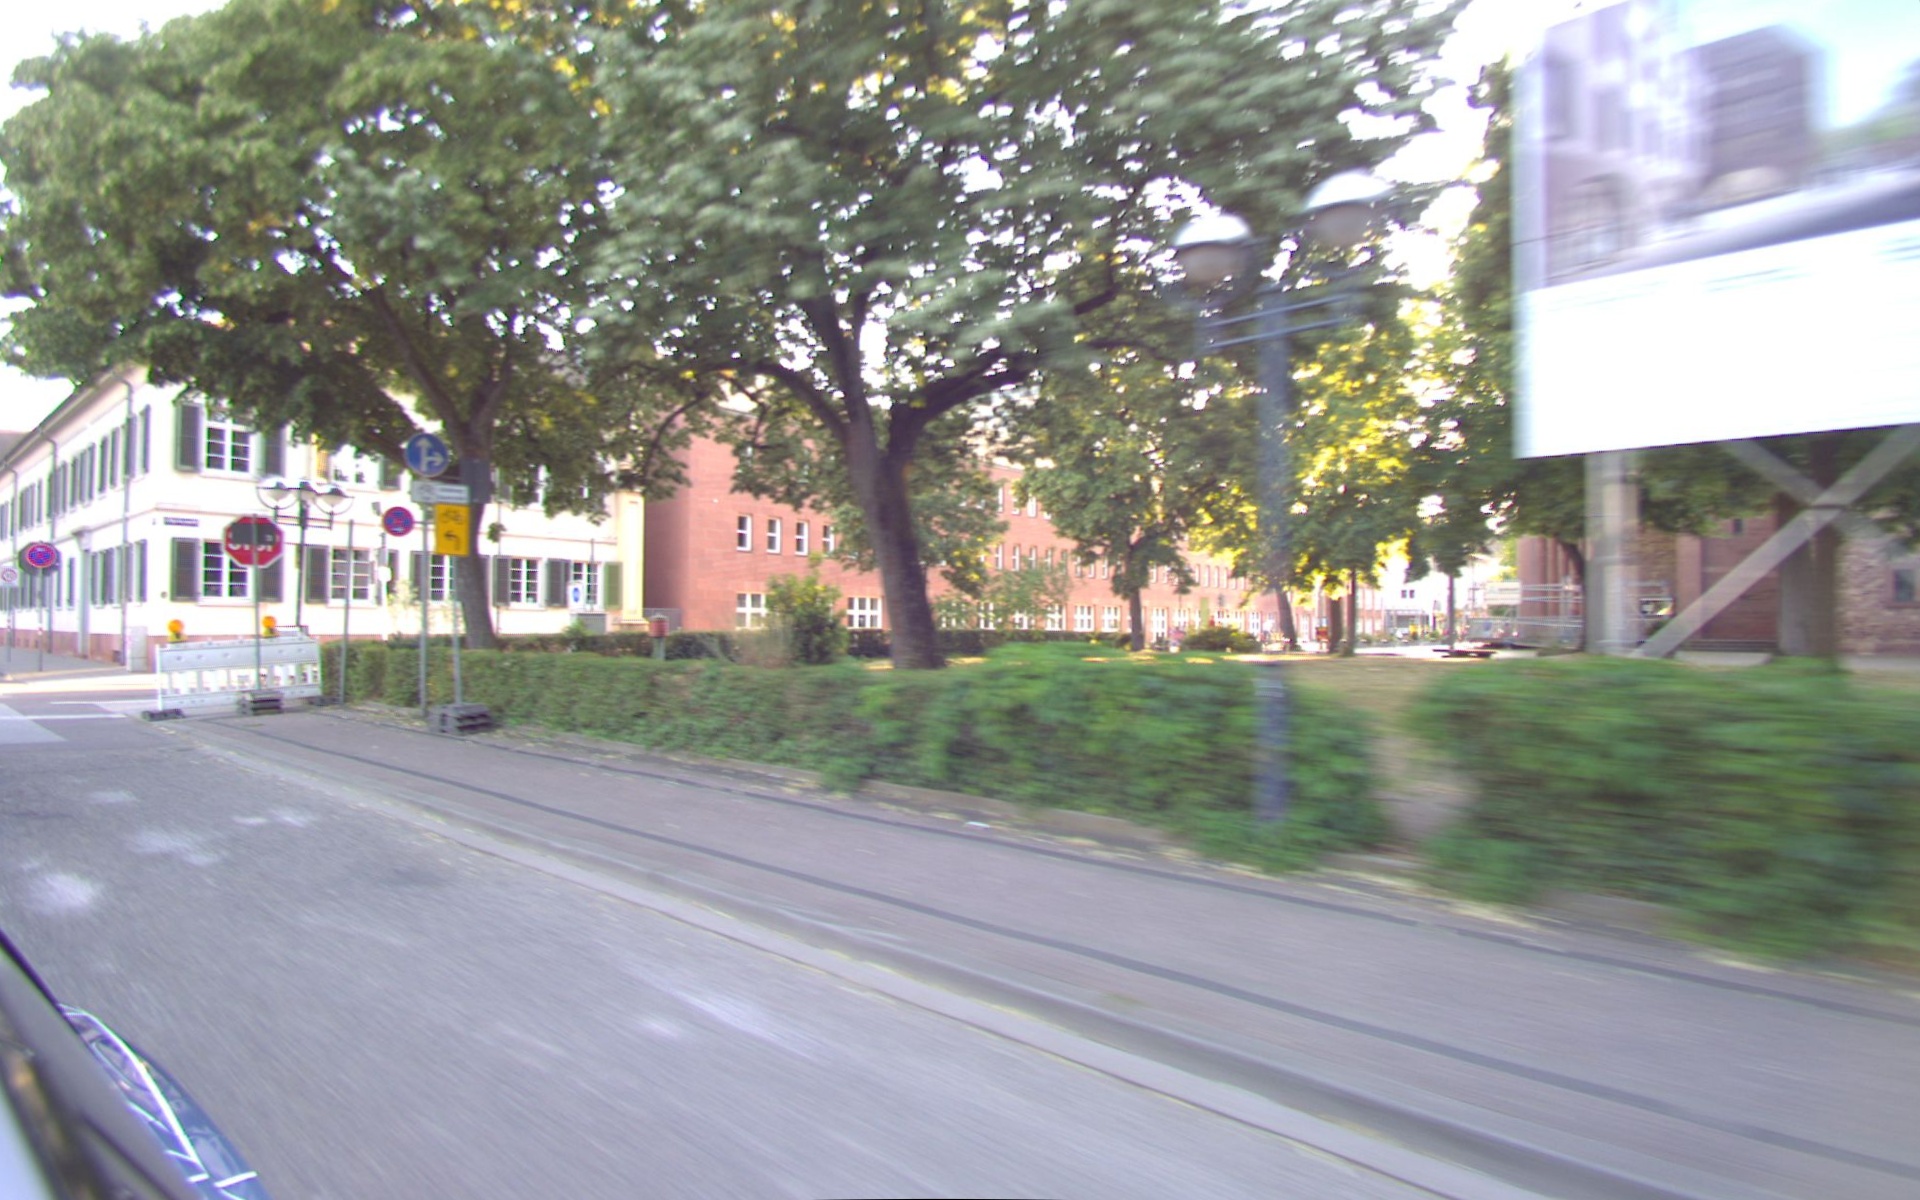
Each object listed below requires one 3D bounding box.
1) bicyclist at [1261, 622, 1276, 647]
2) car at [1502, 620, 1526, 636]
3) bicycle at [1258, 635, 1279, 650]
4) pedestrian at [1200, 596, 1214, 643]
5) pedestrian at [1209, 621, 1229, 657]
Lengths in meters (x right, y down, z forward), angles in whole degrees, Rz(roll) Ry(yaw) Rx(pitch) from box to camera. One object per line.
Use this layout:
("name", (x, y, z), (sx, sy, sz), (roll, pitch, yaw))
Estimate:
("bicyclist", (19.267, 2.173, 63.178), (0.630, 1.563, 0.667), (-1, -3, 43))
("car", (72.127, 3.707, 131.771), (1.999, 2.029, 3.946), (-1, -2, 40))
("bicycle", (19.292, 2.650, 63.190), (0.533, 0.940, 1.809), (-1, -3, 43))
("pedestrian", (10.569, 0.832, 43.257), (0.459, 2.029, 0.404), (-1, -2, 29))
("pedestrian", (12.403, 1.849, 48.535), (0.654, 1.706, 0.742), (-1, -3, 43))
